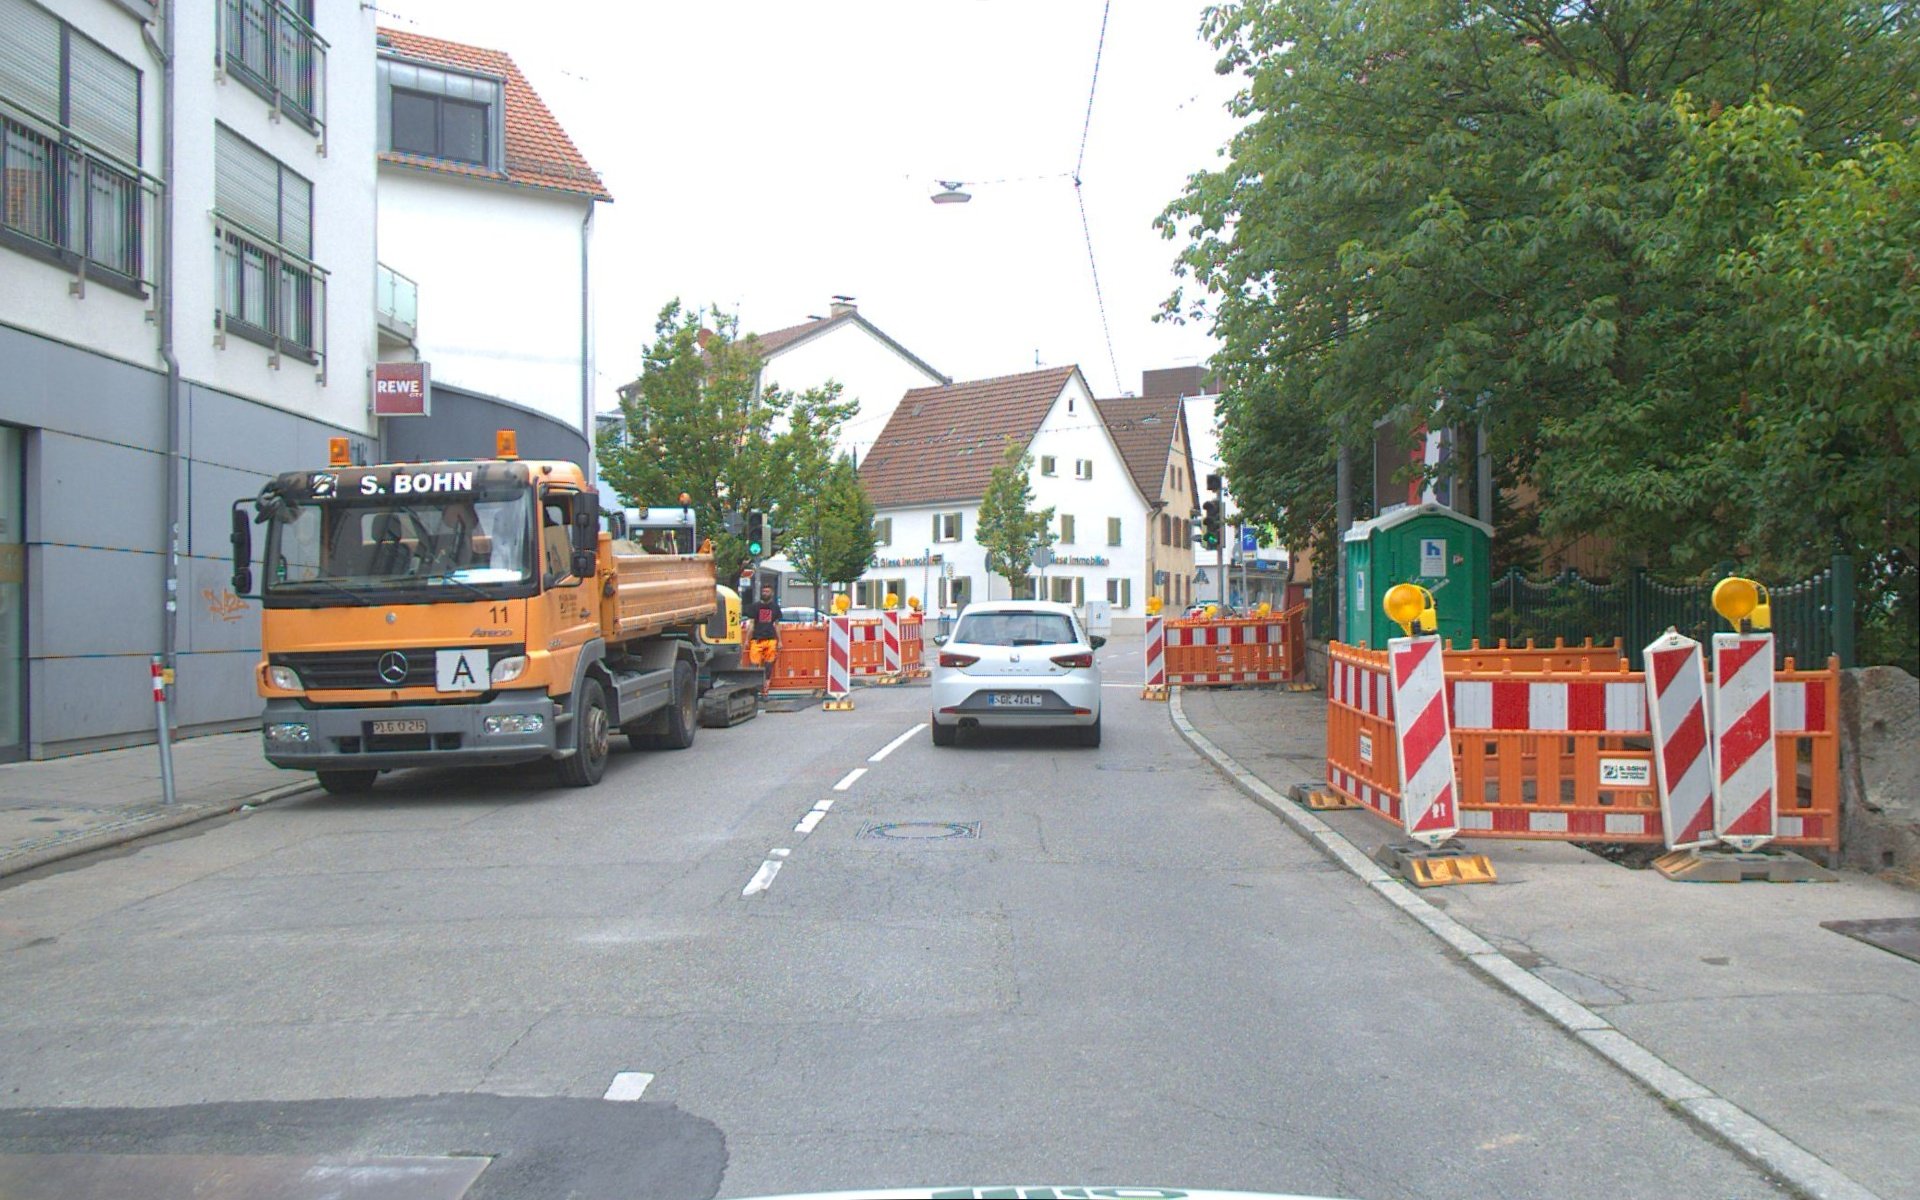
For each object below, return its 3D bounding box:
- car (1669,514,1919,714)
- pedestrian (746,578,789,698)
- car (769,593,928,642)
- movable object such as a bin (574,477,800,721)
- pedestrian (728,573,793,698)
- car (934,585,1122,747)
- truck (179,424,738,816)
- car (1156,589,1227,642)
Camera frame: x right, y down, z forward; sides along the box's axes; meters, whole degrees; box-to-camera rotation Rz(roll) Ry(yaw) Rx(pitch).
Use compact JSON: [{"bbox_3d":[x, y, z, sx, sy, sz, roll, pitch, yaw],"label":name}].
[{"bbox_3d":[10.107,0.140,18.083,4.135,2.069,1.996,0,0,30],"label":"car"},{"bbox_3d":[-2.884,0.561,24.766,0.526,1.774,0.444,-1,0,7],"label":"pedestrian"},{"bbox_3d":[-3.562,0.532,53.345,4.799,1.502,2.251,0,0,5],"label":"car"},{"bbox_3d":[-3.391,0.026,21.418,1.800,2.812,4.508,-1,-1,5],"label":"movable object such as a bin"},{"bbox_3d":[-2.985,0.526,24.777,0.797,1.847,0.744,0,0,6],"label":"pedestrian"},{"bbox_3d":[0.656,0.618,17.782,1.774,1.506,3.870,1,1,0],"label":"car"},{"bbox_3d":[-4.060,0.110,15.258,2.674,2.772,6.851,-1,1,3],"label":"truck"},{"bbox_3d":[7.122,0.456,50.637,1.773,1.506,3.874,-1,1,14],"label":"car"}]
